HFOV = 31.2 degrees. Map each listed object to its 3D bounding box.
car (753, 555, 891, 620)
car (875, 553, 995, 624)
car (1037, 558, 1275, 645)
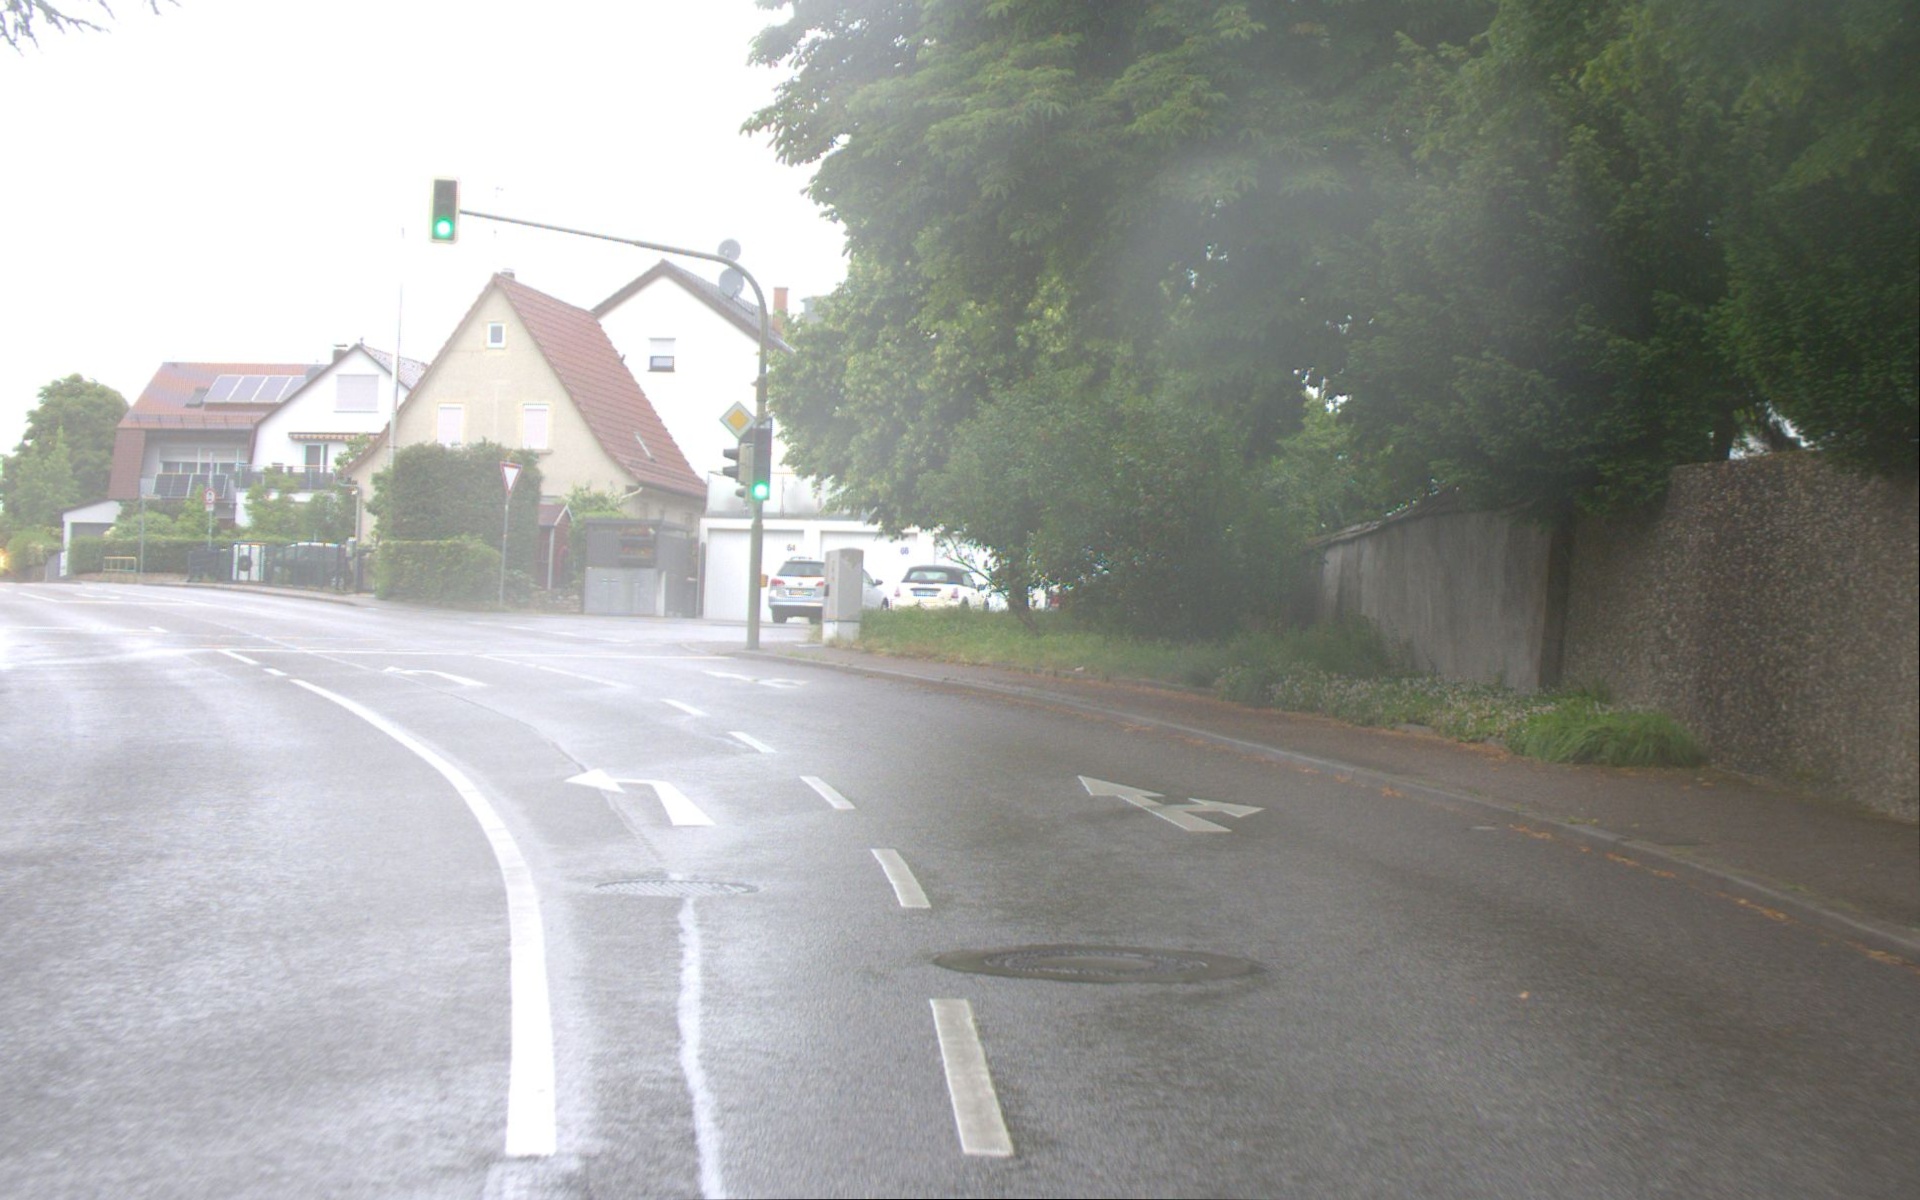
[{"bbox_3d":[-3.081,-0.295,77.648,1.995,1.393,4.148,1,1,14],"label":"car"},{"bbox_3d":[-0.535,-0.287,77.315,1.994,1.525,3.998,1,1,10],"label":"car"},{"bbox_3d":[3.656,0.024,64.631,4.174,1.437,1.834,3,0,-5],"label":"car"}]
